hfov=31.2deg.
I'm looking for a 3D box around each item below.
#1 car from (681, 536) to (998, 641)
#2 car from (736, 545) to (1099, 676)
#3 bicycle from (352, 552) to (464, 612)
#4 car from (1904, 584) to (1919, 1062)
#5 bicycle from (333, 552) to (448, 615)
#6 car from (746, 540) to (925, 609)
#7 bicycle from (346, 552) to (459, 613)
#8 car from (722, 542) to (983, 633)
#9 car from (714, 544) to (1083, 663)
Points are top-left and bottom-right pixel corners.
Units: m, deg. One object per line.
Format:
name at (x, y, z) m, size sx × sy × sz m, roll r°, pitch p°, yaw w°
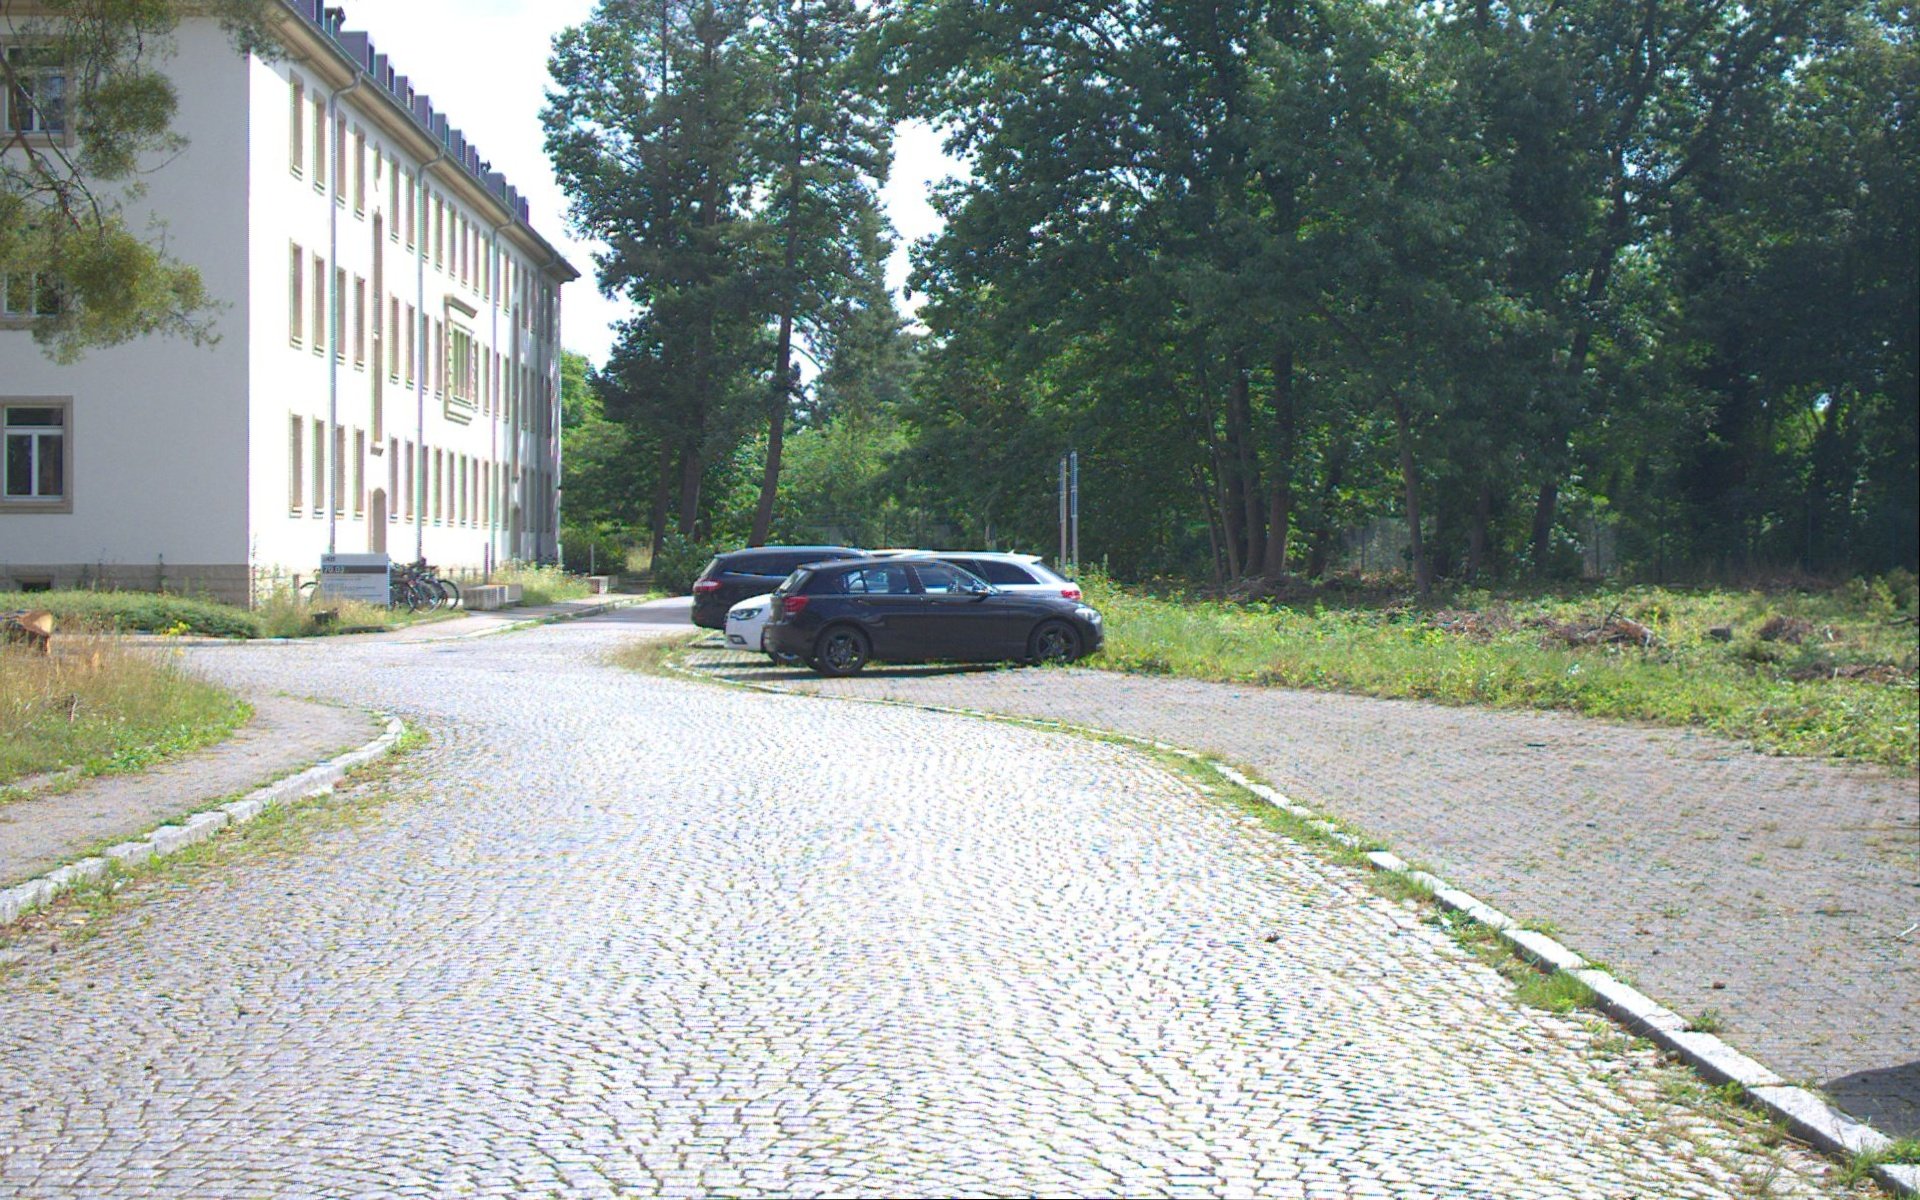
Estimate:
car at (-1.902, -0.185, 53.828) m, size 4.852 × 1.547 × 1.880 m, roll -1°, pitch 0°, yaw -3°
car at (-0.562, 0.109, 43.270) m, size 4.323 × 1.495 × 1.830 m, roll -1°, pitch 2°, yaw -10°
bicycle at (-11.499, -0.379, 71.638) m, size 2.222 × 1.256 × 0.623 m, roll 0°, pitch 1°, yaw 1°
car at (4.993, 0.655, 9.876) m, size 4.041 × 1.459 × 1.704 m, roll -1°, pitch 1°, yaw -4°
bicycle at (-11.540, -0.340, 69.691) m, size 2.222 × 1.256 × 0.623 m, roll 0°, pitch 1°, yaw 5°
car at (-2.939, -0.607, 81.940) m, size 4.187 × 1.538 × 1.820 m, roll -1°, pitch 0°, yaw 0°
bicycle at (-11.447, -0.365, 70.630) m, size 2.222 × 1.256 × 0.623 m, roll 0°, pitch 1°, yaw 1°
car at (-1.872, -0.223, 59.145) m, size 4.398 × 1.479 × 1.766 m, roll -1°, pitch 0°, yaw -3°
car at (-0.859, 0.027, 46.502) m, size 4.861 × 1.467 × 1.875 m, roll -1°, pitch 2°, yaw -3°
